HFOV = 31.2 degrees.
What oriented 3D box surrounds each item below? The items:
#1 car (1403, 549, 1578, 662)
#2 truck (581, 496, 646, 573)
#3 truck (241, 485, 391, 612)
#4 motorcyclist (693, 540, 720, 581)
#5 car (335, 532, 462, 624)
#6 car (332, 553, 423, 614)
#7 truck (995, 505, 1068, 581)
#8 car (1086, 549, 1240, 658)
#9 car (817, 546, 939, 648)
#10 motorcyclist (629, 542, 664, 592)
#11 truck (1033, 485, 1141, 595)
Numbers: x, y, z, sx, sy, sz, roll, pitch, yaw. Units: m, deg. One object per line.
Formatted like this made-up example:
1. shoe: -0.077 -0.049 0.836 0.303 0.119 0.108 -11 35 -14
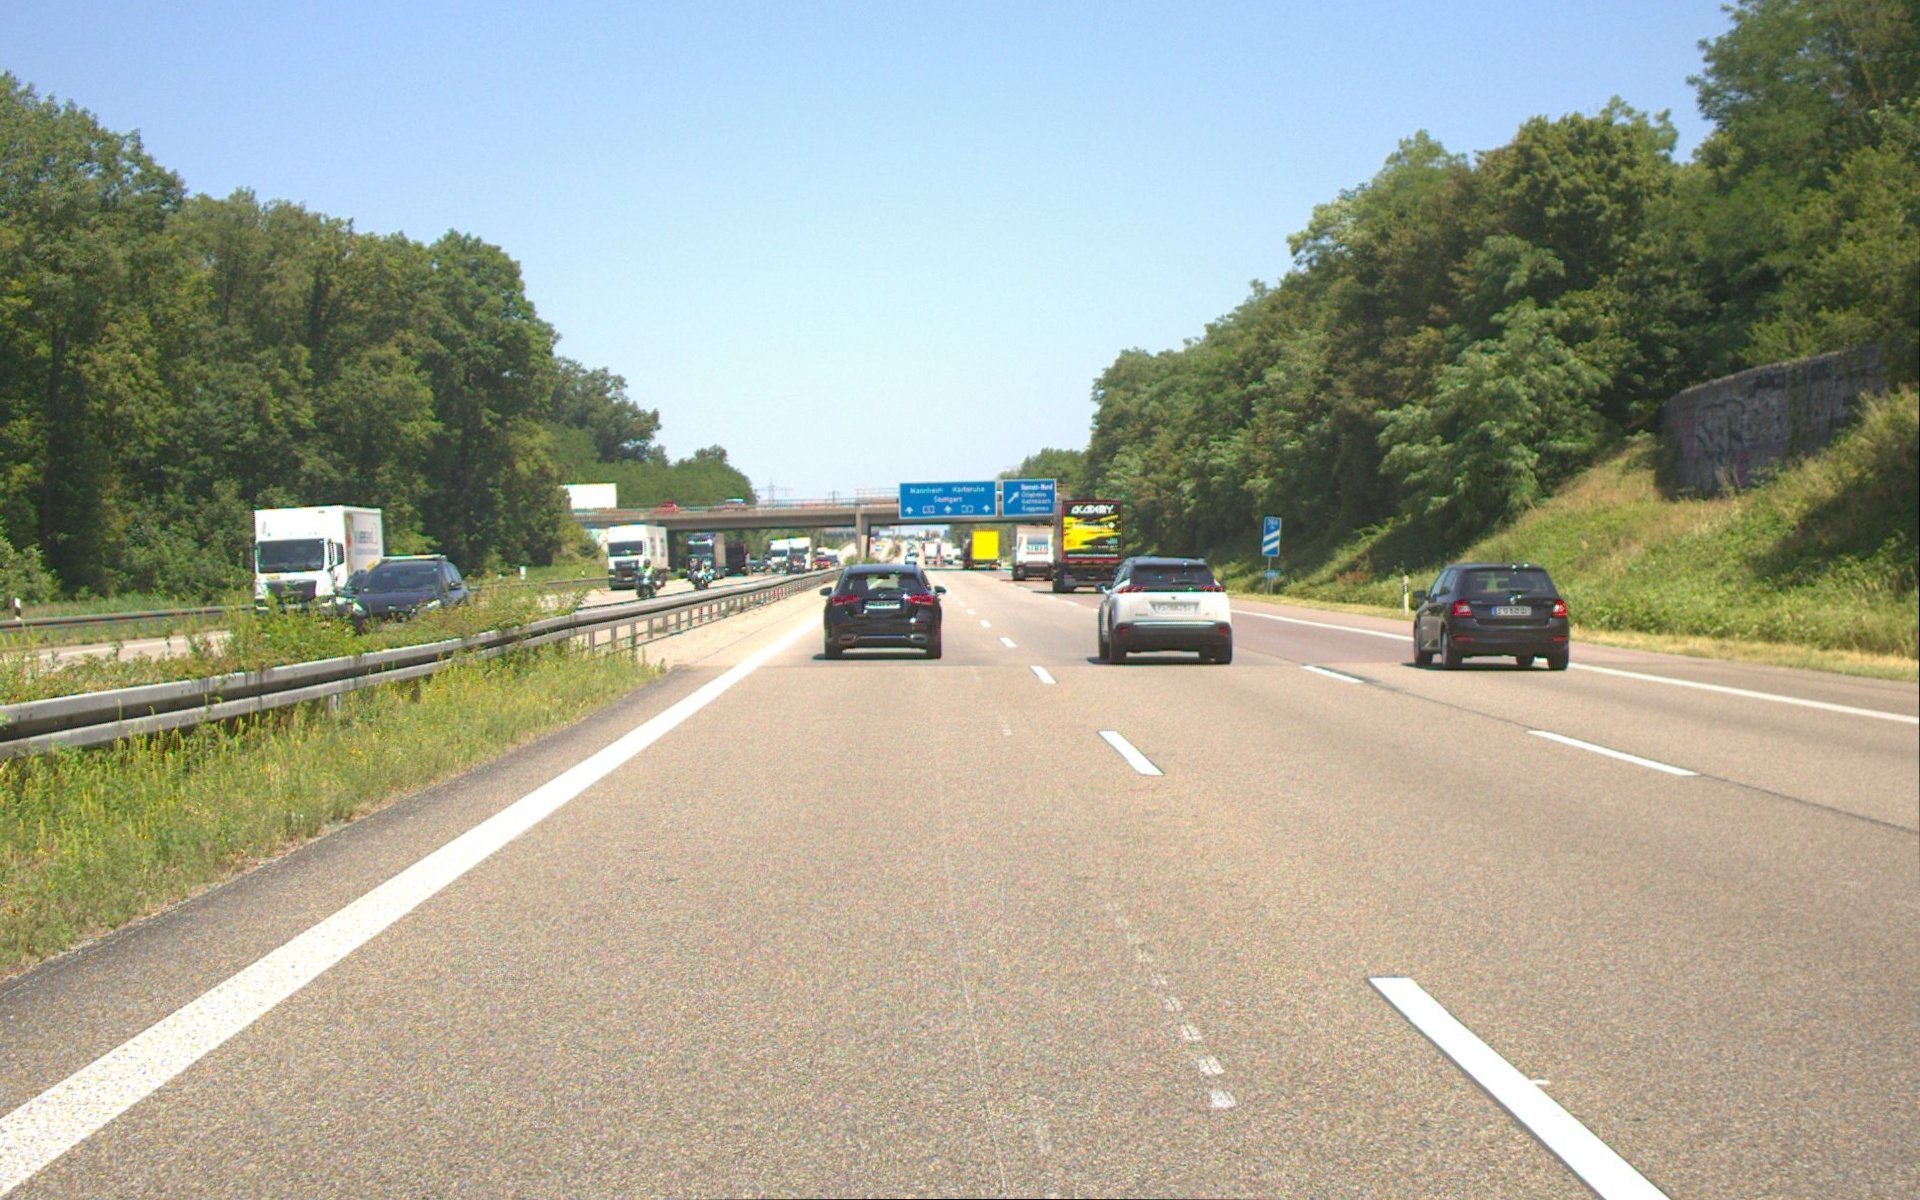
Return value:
1. car: 7.224 0.045 47.123 1.789 1.456 3.949 0 1 0
2. truck: -21.186 -4.016 210.876 2.956 4.499 12.640 -1 1 -2
3. truck: -19.616 -1.591 105.335 2.796 3.620 10.698 -1 1 -2
4. motorcyclist: -11.437 -1.784 155.075 1.152 1.809 1.027 -1 0 -1
5. car: -10.635 -0.445 65.412 1.799 1.690 4.242 0 1 -1
6. car: -15.143 -0.451 89.492 1.799 1.527 4.242 0 1 -2
7. truck: 4.443 -3.546 217.400 3.647 4.574 17.249 1 1 -2
8. car: 2.958 0.018 50.925 1.899 1.527 4.242 0 1 -2
9. car: -1.276 -0.080 53.019 1.799 1.496 4.242 0 1 -2
10. motorcyclist: -11.547 -1.232 126.594 1.152 1.809 1.027 -1 0 -1
11. truck: 5.494 -2.609 151.804 3.647 4.574 15.768 1 1 -2
